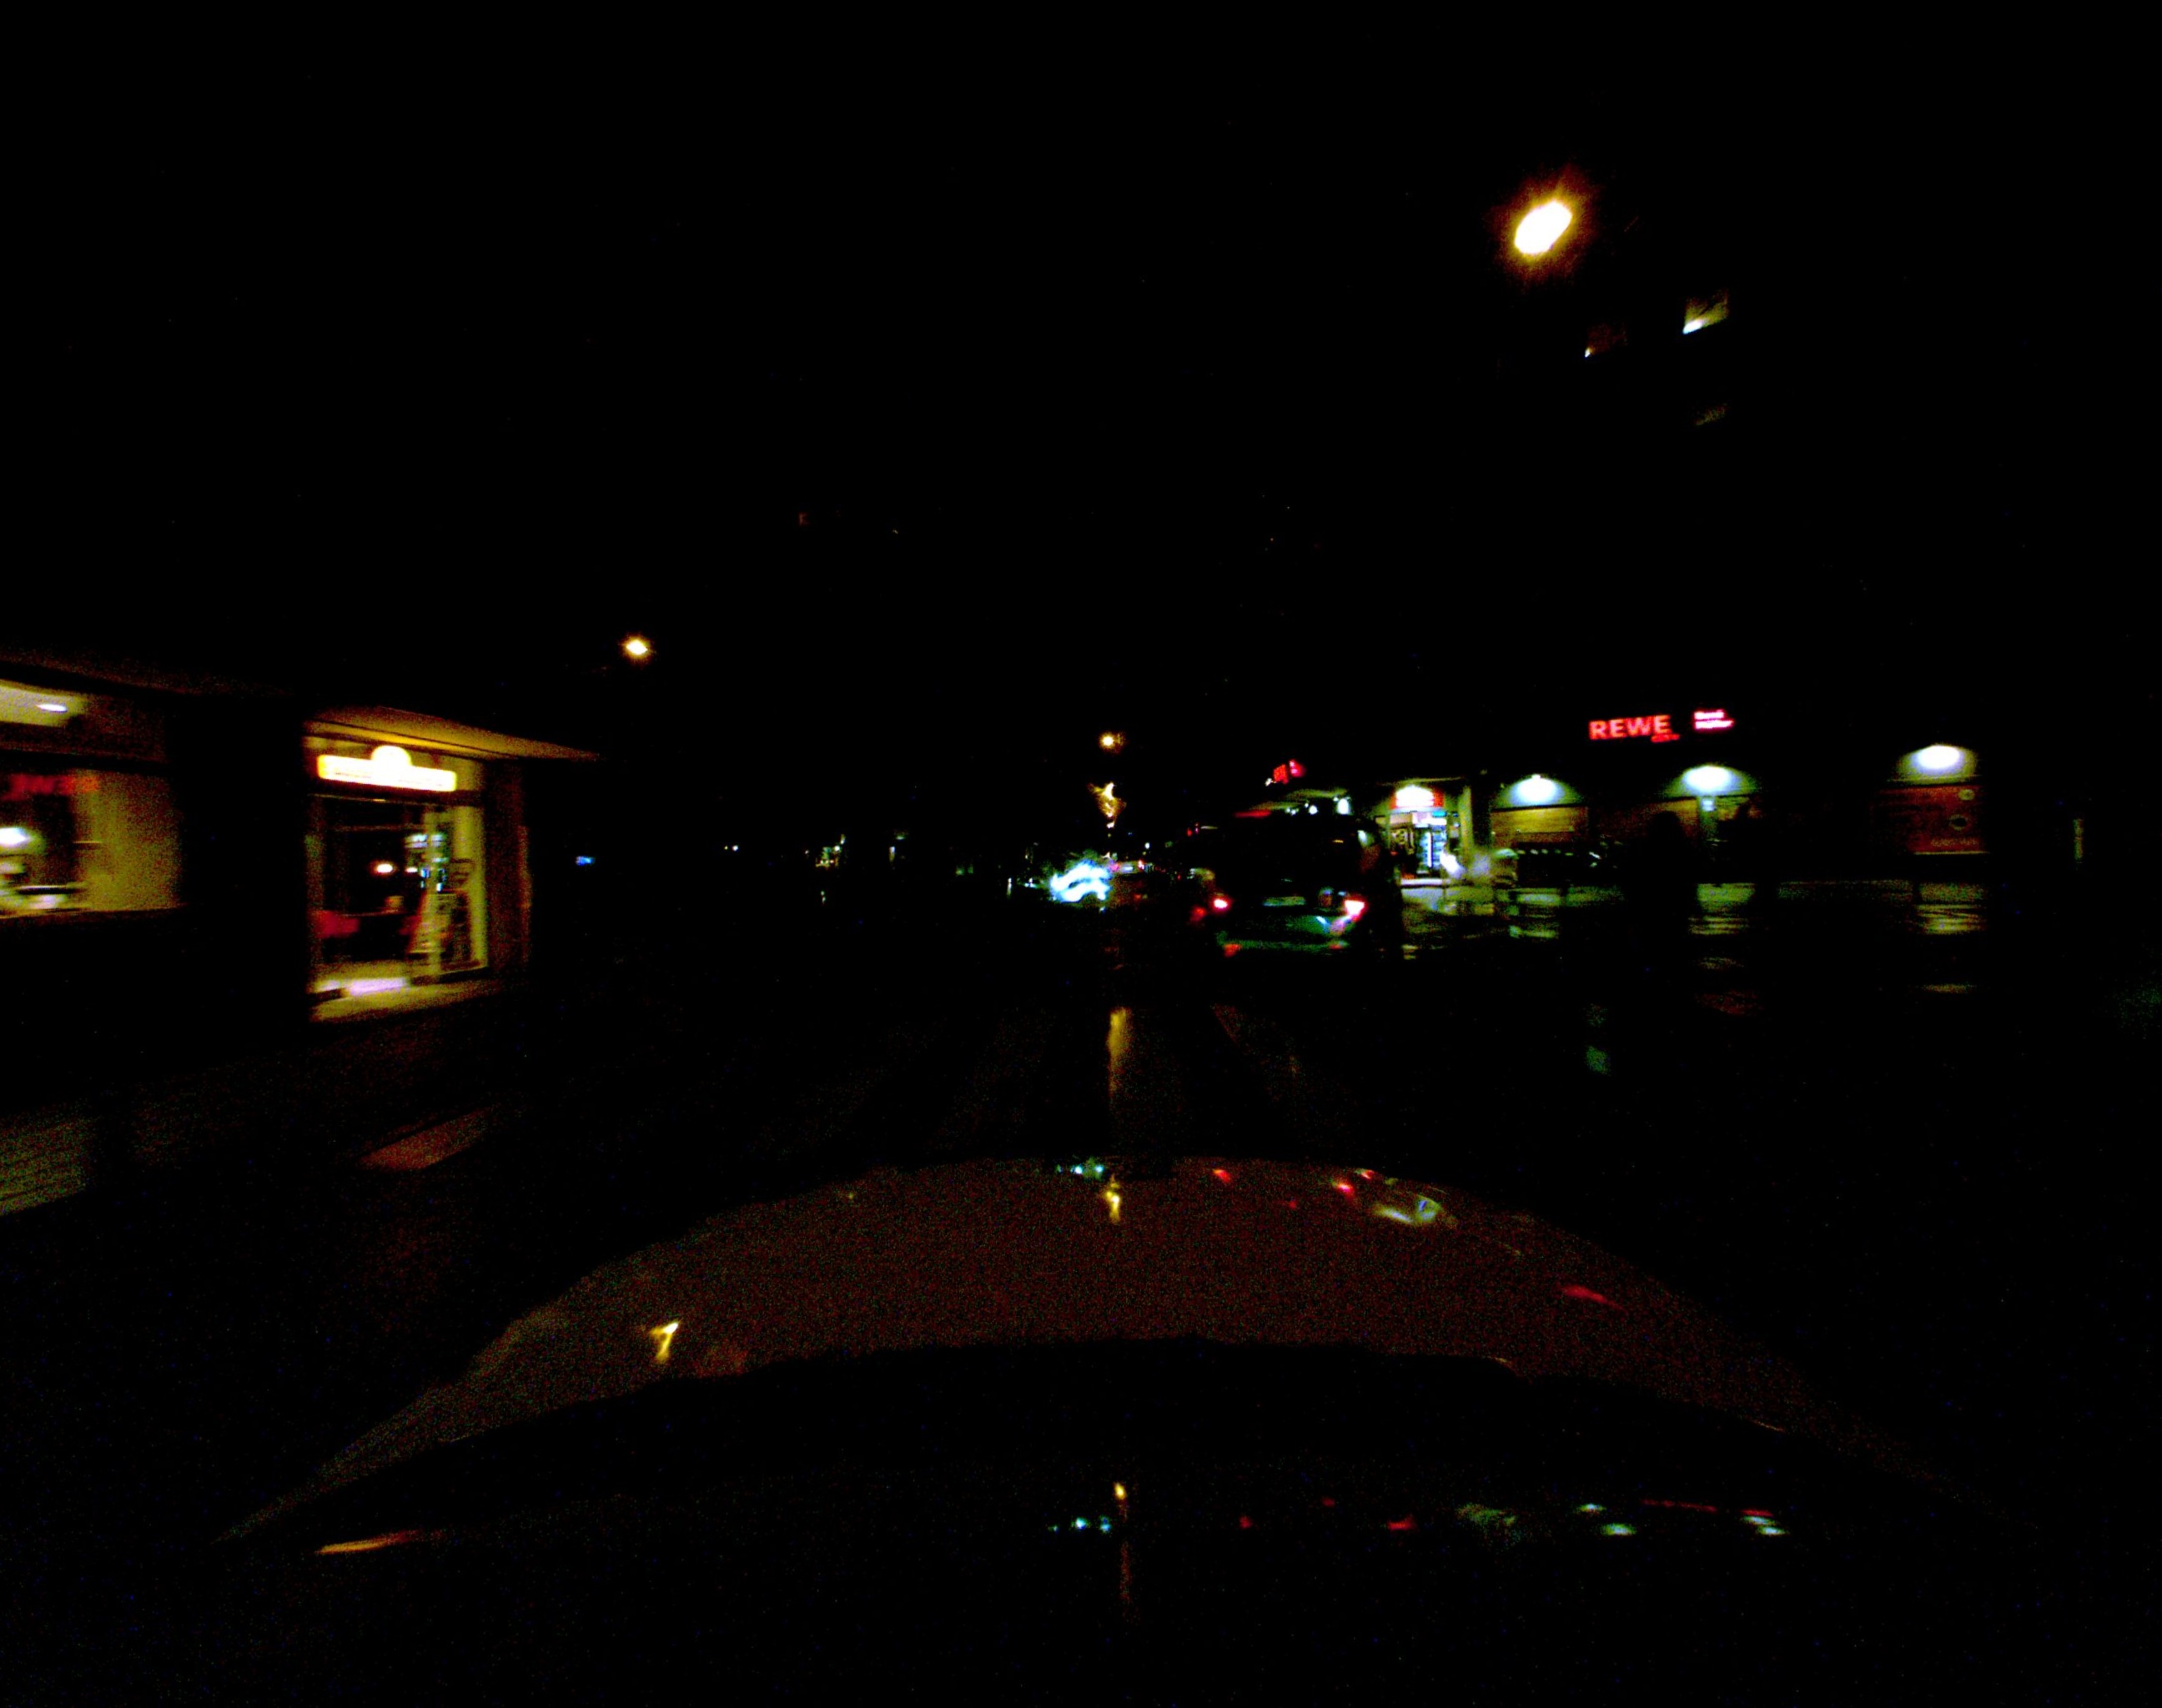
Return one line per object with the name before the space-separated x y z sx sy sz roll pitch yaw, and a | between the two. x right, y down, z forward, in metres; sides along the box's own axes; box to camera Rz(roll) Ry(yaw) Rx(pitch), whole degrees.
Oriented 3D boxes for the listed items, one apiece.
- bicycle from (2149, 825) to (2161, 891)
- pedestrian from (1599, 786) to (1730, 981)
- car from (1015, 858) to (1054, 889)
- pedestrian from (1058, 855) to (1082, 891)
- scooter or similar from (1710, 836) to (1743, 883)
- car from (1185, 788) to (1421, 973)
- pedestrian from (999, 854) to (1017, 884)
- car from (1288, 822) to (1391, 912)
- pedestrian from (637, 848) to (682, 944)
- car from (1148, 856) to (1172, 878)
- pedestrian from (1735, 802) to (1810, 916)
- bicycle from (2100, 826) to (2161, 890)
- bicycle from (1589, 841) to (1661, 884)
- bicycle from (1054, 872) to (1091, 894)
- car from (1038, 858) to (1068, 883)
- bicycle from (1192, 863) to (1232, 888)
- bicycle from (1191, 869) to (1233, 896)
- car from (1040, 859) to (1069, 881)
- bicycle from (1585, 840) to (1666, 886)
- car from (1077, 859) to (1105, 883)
bicycle | 20.370 0.070 14.573 1.953 1.176 0.452 0 -1 -1
pedestrian | 5.529 0.276 7.768 0.820 1.771 0.602 -1 -1 14
car | -2.357 0.968 42.029 1.580 1.463 4.026 1 0 2
pedestrian | -0.564 0.971 41.679 1.117 1.811 0.715 -2 0 2
scooter or similar | 17.247 0.137 21.776 0.520 1.229 1.321 -1 1 32
car | 3.302 0.303 11.298 2.102 1.991 4.629 -2 -1 28
pedestrian | -4.250 0.870 47.359 0.799 1.766 1.018 0 -1 8
car | 6.261 0.296 20.213 2.107 1.922 4.845 -1 0 14
pedestrian | -8.675 0.846 16.755 0.658 1.909 0.621 -2 0 -39
car | 5.742 0.954 59.401 1.585 1.543 3.422 -1 -1 2
pedestrian | 11.716 0.088 13.833 0.867 1.833 0.990 -3 -1 38
bicycle | 20.340 0.081 15.260 1.953 1.176 0.452 0 -1 -1
bicycle | 15.249 0.258 22.866 1.626 1.174 0.386 -1 -3 30
bicycle | -0.440 1.477 41.668 1.789 1.059 0.715 -2 0 2
car | -1.735 1.014 51.233 1.580 1.449 3.505 -1 0 2
bicycle | 6.084 0.976 37.871 1.756 1.079 0.435 -2 0 0
bicycle | 5.965 1.305 37.119 1.777 1.125 0.435 -3 0 0
car | -1.829 1.105 56.857 1.683 1.400 4.319 -1 0 2
bicycle | 14.679 0.255 21.986 1.764 1.174 0.386 -2 0 30
car | 0.715 1.071 53.789 1.556 1.427 4.073 -3 0 3
